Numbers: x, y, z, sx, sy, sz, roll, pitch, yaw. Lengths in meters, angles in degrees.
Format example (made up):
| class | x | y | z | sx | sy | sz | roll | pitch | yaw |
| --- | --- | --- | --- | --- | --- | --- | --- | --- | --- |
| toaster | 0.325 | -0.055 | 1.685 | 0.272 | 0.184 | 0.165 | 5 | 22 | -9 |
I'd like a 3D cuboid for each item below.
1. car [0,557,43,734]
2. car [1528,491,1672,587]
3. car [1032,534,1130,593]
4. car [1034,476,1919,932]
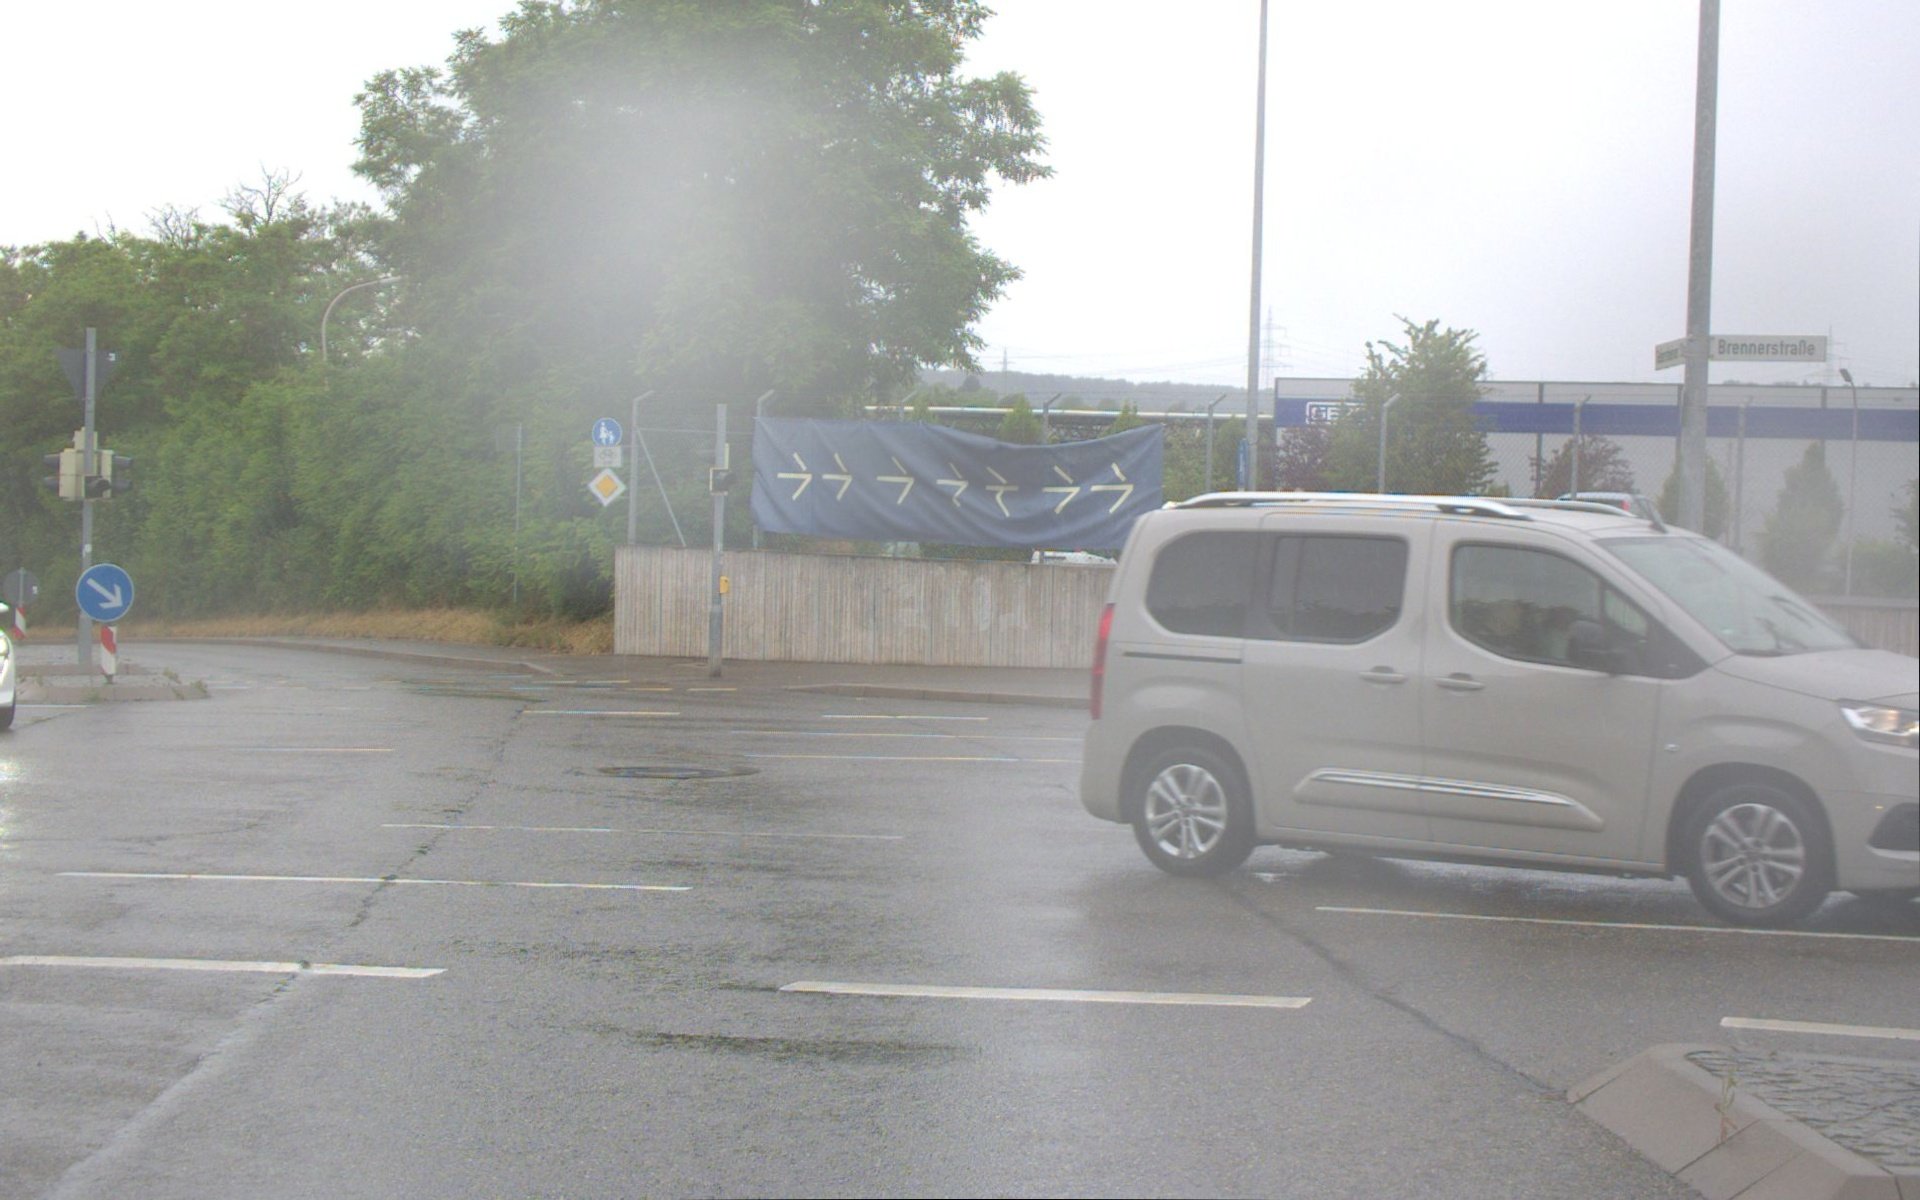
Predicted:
| class | x | y | z | sx | sy | sz | roll | pitch | yaw |
| --- | --- | --- | --- | --- | --- | --- | --- | --- | --- |
| car | -9.587 | 0.355 | 30.764 | 1.865 | 1.503 | 3.981 | 1 | 1 | -27 |
| car | 10.720 | -1.000 | 57.430 | 1.744 | 1.548 | 3.527 | 1 | 1 | 21 |
| car | 3.400 | -1.018 | 95.896 | 1.668 | 1.601 | 3.527 | 1 | 1 | 21 |
| car | 2.758 | 0.382 | 15.905 | 4.478 | 1.837 | 1.996 | 1 | 1 | 36 |
